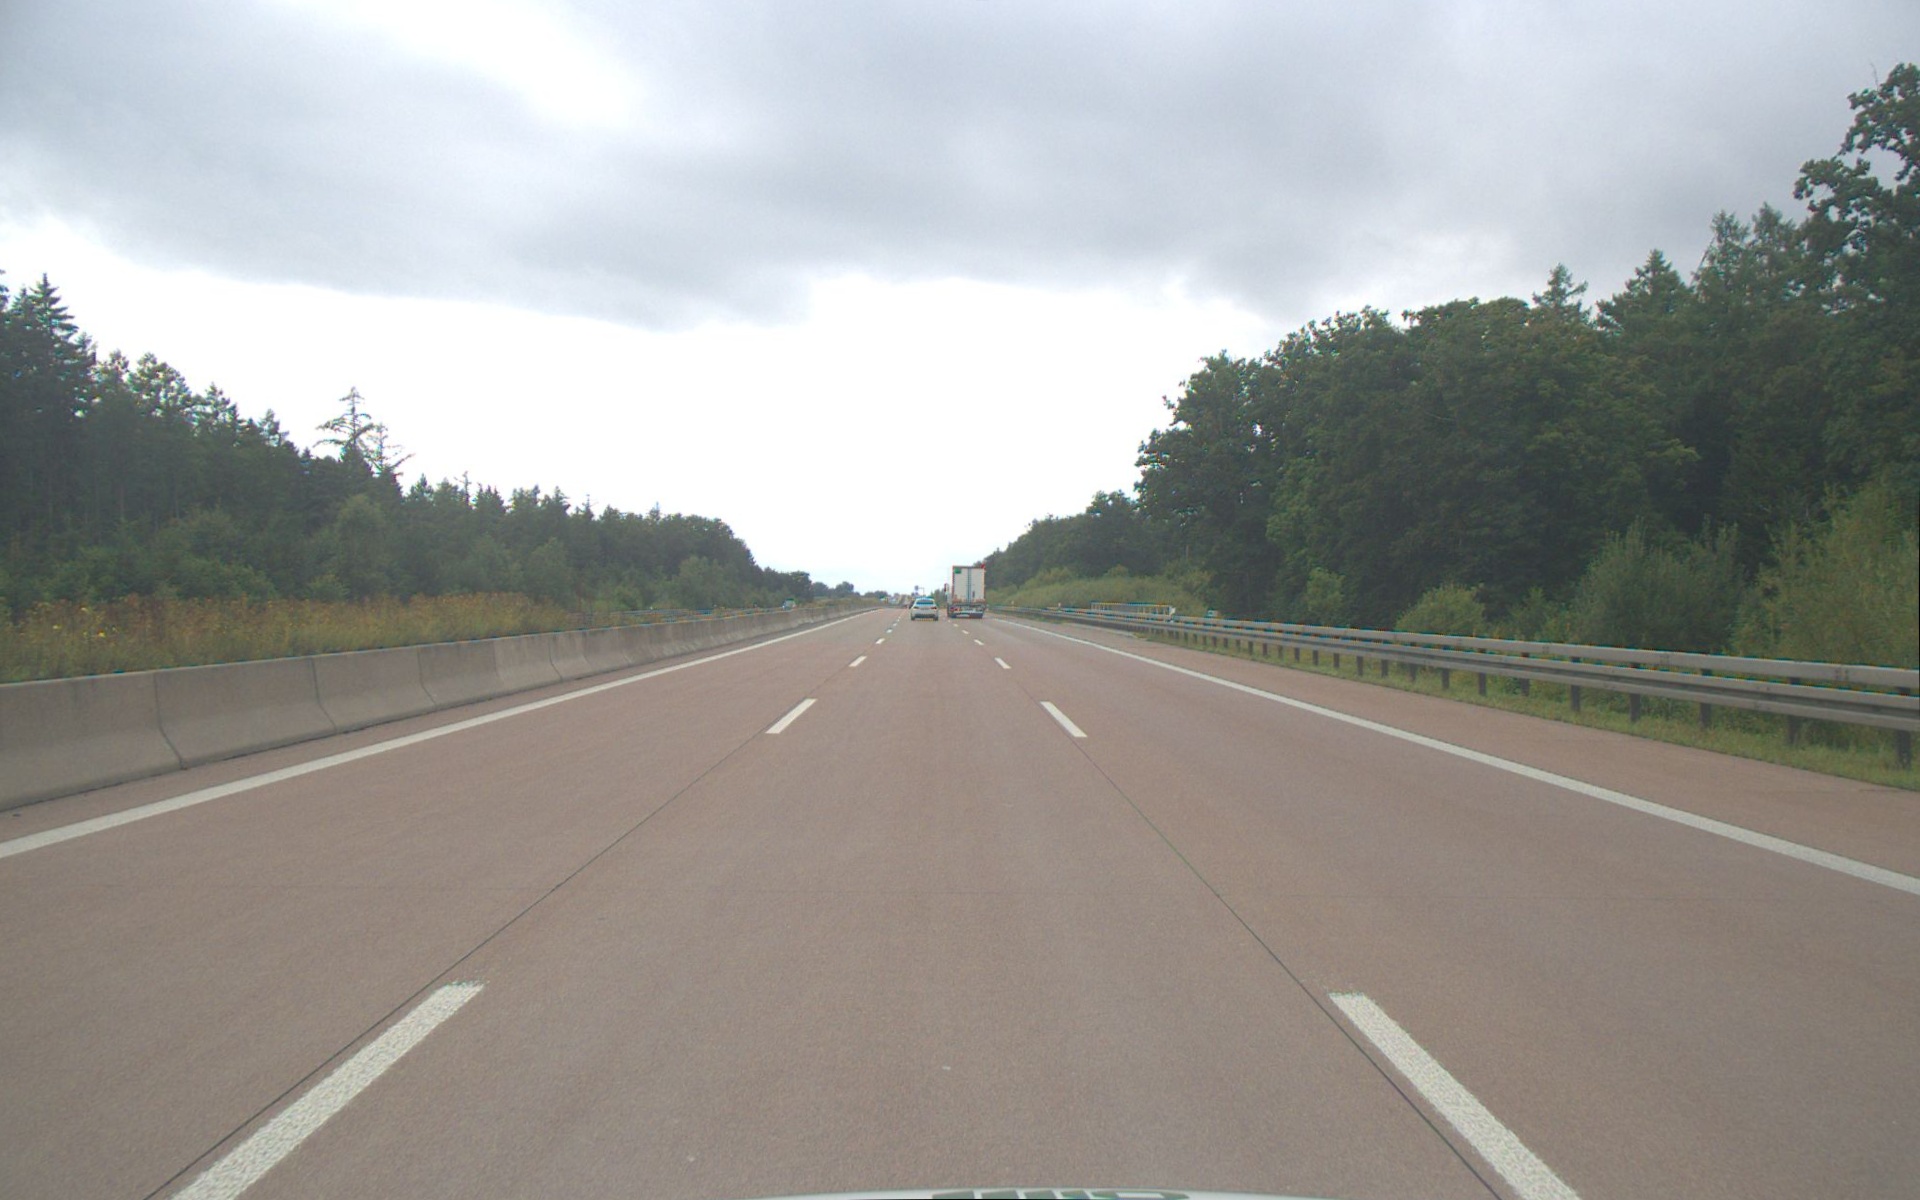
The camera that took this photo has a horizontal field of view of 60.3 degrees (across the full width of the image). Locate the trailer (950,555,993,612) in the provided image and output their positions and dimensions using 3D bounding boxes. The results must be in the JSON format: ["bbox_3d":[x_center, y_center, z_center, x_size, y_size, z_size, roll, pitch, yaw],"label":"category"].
[{"bbox_3d":[0.840,-1.208,133.180,2.862,4.369,13.608,0,0,-2],"label":"trailer"}]

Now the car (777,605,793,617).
[{"bbox_3d":[-25.686,1.627,242.989,2.081,1.619,5.195,0,0,-2],"label":"car"}]

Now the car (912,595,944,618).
[{"bbox_3d":[-2.180,0.441,113.355,2.119,1.476,4.718,2,0,0],"label":"car"}]
